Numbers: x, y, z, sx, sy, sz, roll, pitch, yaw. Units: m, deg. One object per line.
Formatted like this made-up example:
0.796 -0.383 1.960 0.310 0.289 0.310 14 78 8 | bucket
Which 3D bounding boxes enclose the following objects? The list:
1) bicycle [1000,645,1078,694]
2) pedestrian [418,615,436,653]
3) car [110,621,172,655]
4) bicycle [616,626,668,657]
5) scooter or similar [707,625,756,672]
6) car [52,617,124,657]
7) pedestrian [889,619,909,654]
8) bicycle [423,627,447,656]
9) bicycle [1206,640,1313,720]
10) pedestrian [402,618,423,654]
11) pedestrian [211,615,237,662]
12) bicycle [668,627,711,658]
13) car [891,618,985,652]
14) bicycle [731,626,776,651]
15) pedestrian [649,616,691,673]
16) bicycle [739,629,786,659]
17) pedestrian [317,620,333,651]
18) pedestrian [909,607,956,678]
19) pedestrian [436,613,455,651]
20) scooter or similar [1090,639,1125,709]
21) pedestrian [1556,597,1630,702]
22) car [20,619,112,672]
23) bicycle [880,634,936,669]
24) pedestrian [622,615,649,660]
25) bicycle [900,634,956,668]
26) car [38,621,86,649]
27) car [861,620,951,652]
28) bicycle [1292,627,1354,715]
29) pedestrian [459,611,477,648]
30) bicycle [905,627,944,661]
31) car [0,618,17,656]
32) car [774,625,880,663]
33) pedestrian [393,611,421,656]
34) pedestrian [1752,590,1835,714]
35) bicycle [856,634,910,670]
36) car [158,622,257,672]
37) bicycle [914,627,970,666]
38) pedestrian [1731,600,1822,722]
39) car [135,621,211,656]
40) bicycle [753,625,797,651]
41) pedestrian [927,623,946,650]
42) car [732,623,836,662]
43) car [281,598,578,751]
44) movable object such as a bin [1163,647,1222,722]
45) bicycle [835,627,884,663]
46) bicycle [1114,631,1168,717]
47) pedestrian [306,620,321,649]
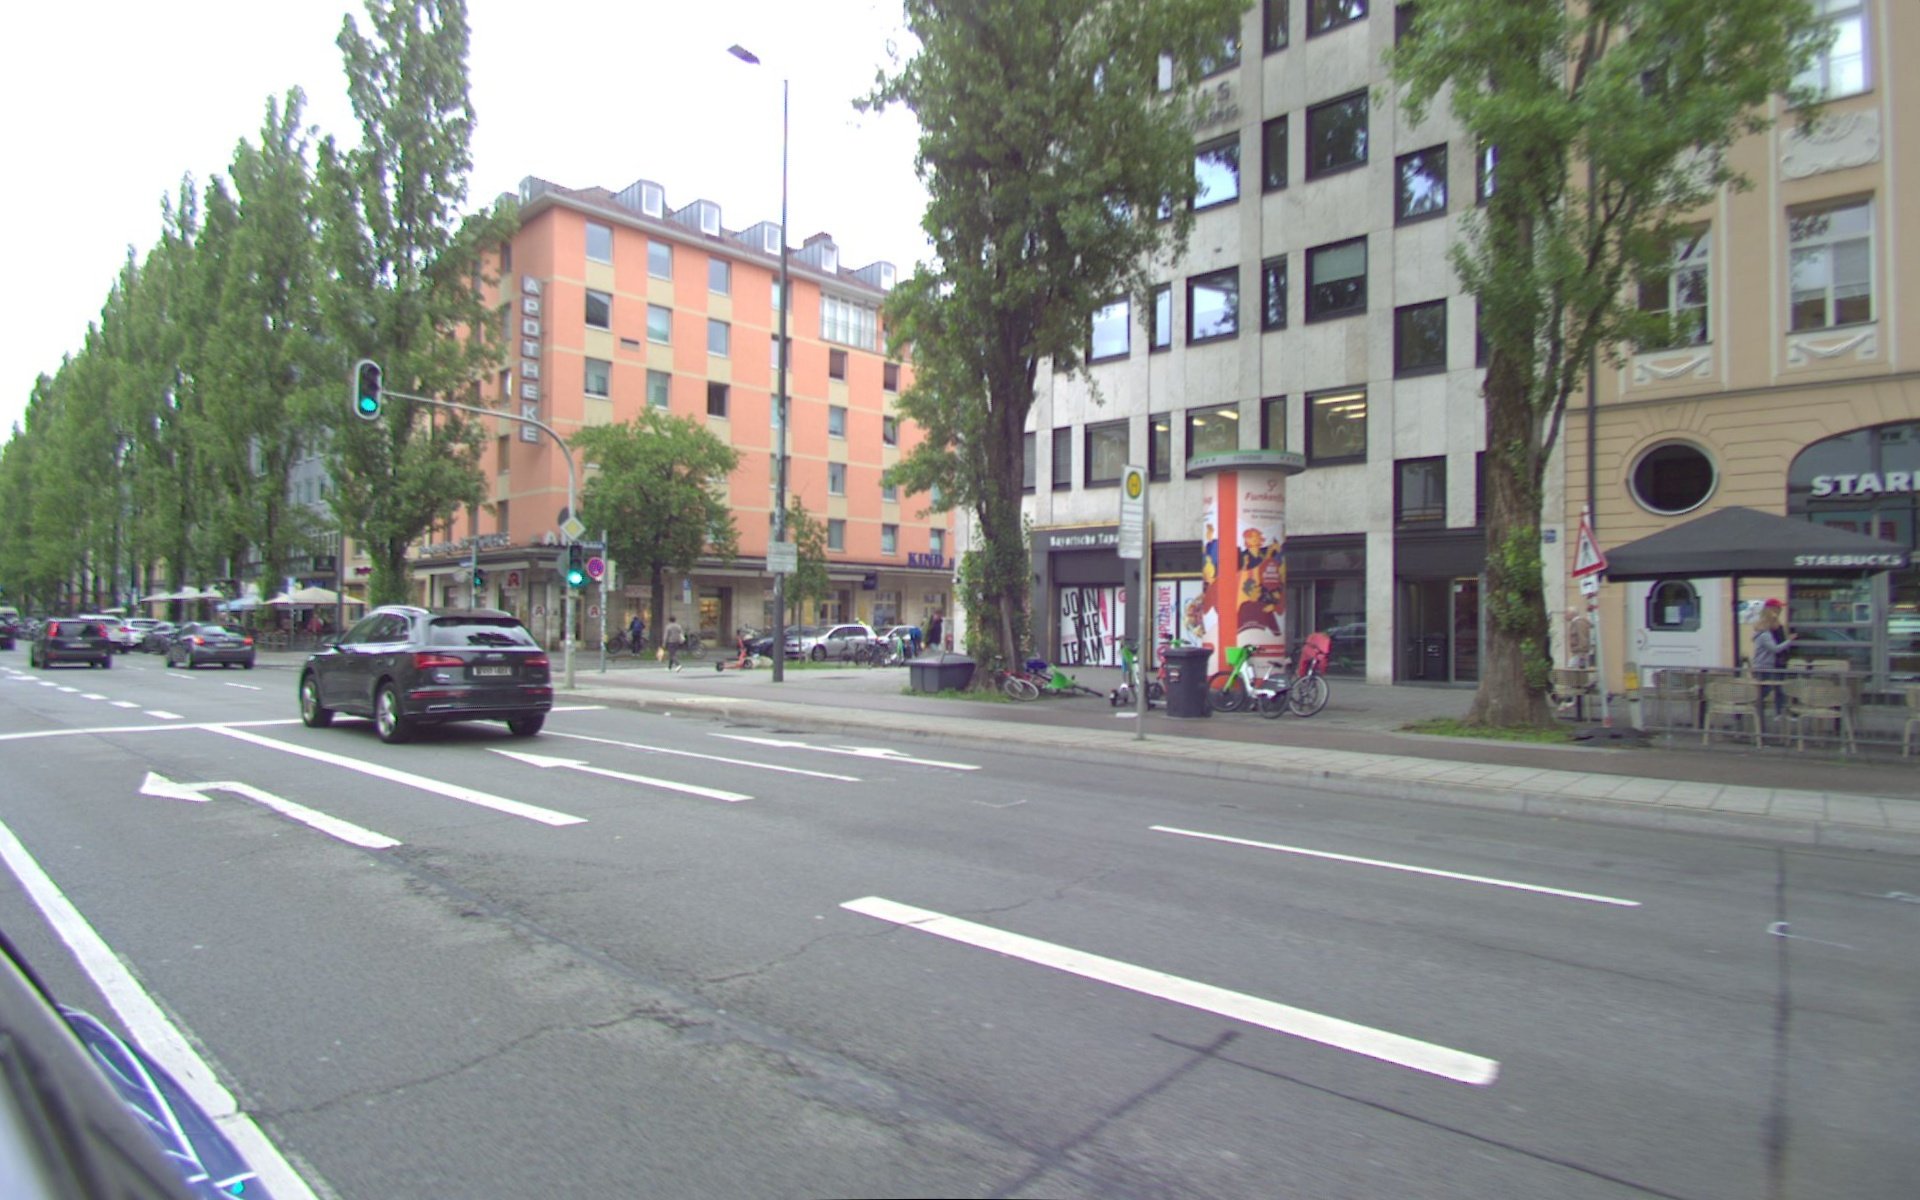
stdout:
1.544 1.309 19.467 0.827 0.514 1.939 23 9 21 | bicycle
-23.807 1.508 45.205 0.626 1.683 0.501 -1 -1 42 | pedestrian
-40.898 1.875 50.522 4.094 1.595 1.685 0 -3 41 | car
-13.014 1.674 41.461 2.031 1.193 0.417 -1 0 -41 | bicycle
-6.774 1.431 29.966 1.341 1.349 0.439 1 -2 -29 | scooter or similar
-39.524 1.633 45.833 4.634 1.729 1.818 -1 -2 42 | car
-3.195 1.904 52.991 0.780 1.780 0.655 -1 0 41 | pedestrian
-21.183 1.655 40.826 1.373 1.150 0.416 -1 -1 42 | bicycle
4.599 1.199 15.664 0.499 1.096 1.816 0 0 -26 | bicycle
-24.037 1.581 44.428 0.548 1.595 0.649 -1 -2 42 | pedestrian
-29.078 1.501 40.007 0.725 1.809 0.995 0 0 -31 | pedestrian
-10.671 1.670 39.839 2.058 1.193 0.411 -1 -2 35 | bicycle
-0.951 1.535 44.963 3.937 1.431 1.745 1 -2 -40 | car
-9.766 1.811 47.932 0.690 1.193 2.034 -1 -2 43 | bicycle
-8.419 1.274 29.378 0.934 1.631 0.770 -1 -2 41 | pedestrian
-8.545 1.896 43.839 2.031 1.193 0.538 -1 0 -41 | bicycle
-36.629 2.040 58.381 0.692 1.731 0.549 -1 -2 40 | pedestrian
-0.696 1.046 25.394 0.941 1.753 0.719 -1 0 41 | pedestrian
-23.303 1.430 45.847 0.519 1.701 0.623 -1 0 42 | pedestrian
2.501 1.235 17.304 0.384 1.122 1.562 0 -1 1 | scooter or similar
11.023 0.826 17.615 0.954 1.757 0.834 -1 0 42 | pedestrian
-26.913 1.329 30.431 3.692 1.507 1.545 -1 -3 41 | car
-1.832 1.788 35.607 1.995 1.193 0.413 0 -2 22 | bicycle
-12.962 1.480 40.403 0.692 1.780 0.770 -1 -2 41 | pedestrian
-1.155 1.824 36.538 2.052 1.193 0.447 -1 -2 26 | bicycle
-57.475 2.227 64.759 4.585 1.693 1.760 -1 -3 43 | car
-2.493 1.639 47.112 3.886 1.431 1.894 1 -2 -40 | car
5.794 1.099 16.224 0.579 1.311 1.948 0 -1 9 | bicycle
-22.690 1.367 46.706 0.514 1.704 0.580 -1 -2 41 | pedestrian
-1.289 1.570 36.350 0.409 1.193 2.069 1 -2 -33 | bicycle
-46.573 1.729 48.320 4.438 1.759 1.864 -1 -2 42 | car
-5.333 1.738 40.793 3.937 1.431 1.784 1 -2 -40 | car
-22.013 1.330 40.281 0.778 1.784 0.716 -1 -2 42 | pedestrian
12.591 0.756 15.287 0.911 1.801 0.791 -1 0 41 | pedestrian
-2.656 1.787 34.785 2.028 1.193 0.411 -1 -2 35 | bicycle
-23.635 1.441 31.750 3.994 1.450 1.625 -1 -3 41 | car
-0.593 1.544 33.932 0.558 1.259 2.108 -1 -2 45 | bicycle
11.941 0.864 14.802 0.977 1.694 0.724 -1 0 41 | pedestrian
-35.202 1.715 45.236 4.586 1.449 1.686 0 -2 40 | car
-8.911 1.825 48.800 0.690 1.193 2.034 -1 -2 43 | bicycle
-1.262 1.976 54.795 0.780 1.401 0.655 -1 0 41 | pedestrian
-7.336 1.733 42.276 3.937 1.431 1.784 -1 0 -40 | car
-7.133 0.897 13.397 4.583 1.693 1.893 -1 -4 41 | car
3.479 1.249 15.196 0.847 1.049 0.722 -1 0 12 | movable object such as a bin
-3.406 1.505 34.259 1.849 1.193 0.411 -1 -2 35 | bicycle
3.030 1.205 17.115 0.501 1.299 1.955 -1 0 -2 | bicycle
-36.935 1.962 57.821 0.692 1.651 0.549 -1 -2 40 | pedestrian
